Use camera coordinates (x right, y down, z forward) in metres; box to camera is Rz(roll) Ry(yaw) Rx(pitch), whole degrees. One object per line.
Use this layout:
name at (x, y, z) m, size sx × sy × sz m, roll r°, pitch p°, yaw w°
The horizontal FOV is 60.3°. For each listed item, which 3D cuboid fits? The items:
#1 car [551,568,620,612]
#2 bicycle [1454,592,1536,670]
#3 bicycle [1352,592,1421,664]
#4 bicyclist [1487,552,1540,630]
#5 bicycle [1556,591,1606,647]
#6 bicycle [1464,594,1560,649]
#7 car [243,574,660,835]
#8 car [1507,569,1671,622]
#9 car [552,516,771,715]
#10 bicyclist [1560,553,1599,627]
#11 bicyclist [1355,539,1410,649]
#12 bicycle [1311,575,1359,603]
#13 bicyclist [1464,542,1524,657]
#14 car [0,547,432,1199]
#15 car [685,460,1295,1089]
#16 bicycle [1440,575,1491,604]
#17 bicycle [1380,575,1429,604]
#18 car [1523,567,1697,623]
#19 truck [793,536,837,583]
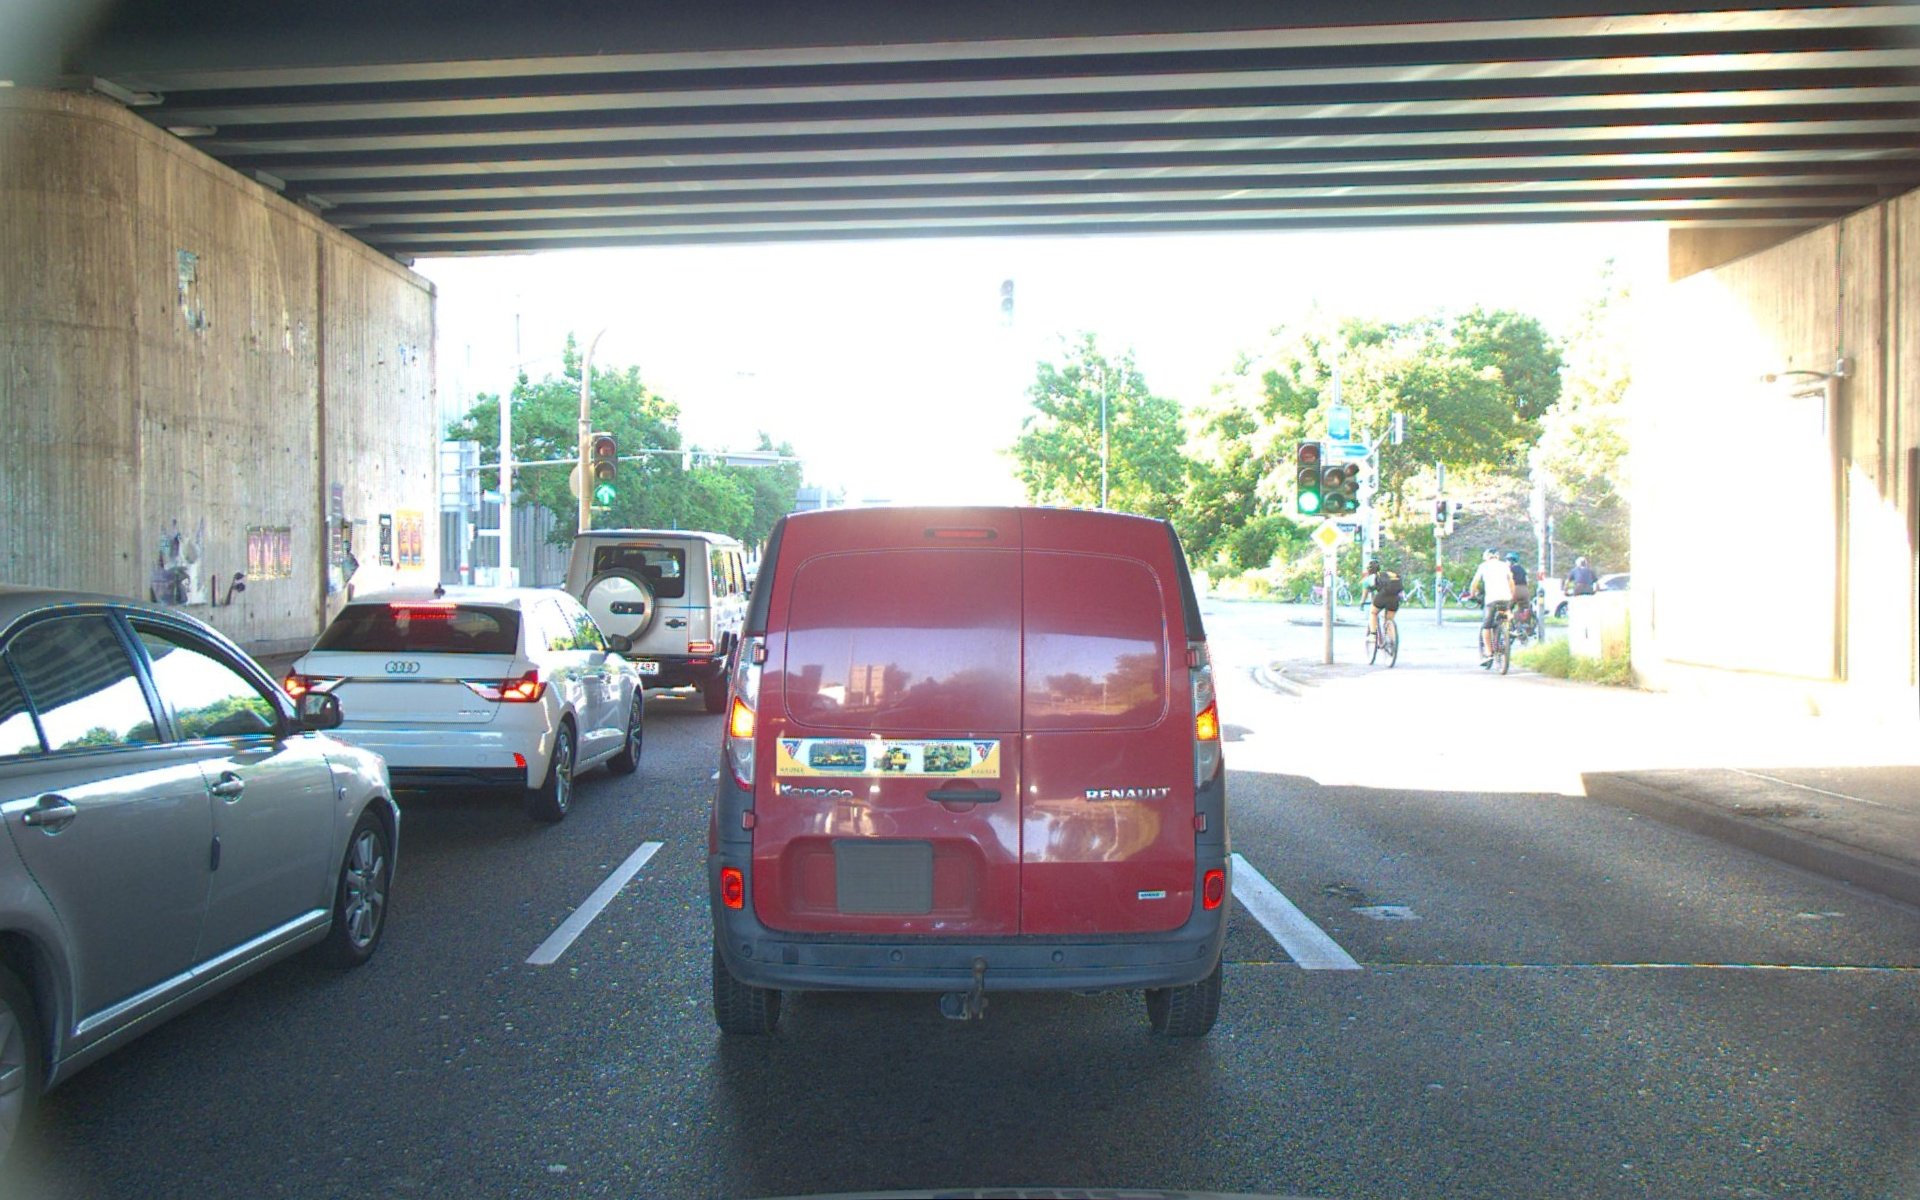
car at (-16.123, -0.443, 71.385) m, size 1.787 × 1.768 × 4.630 m, roll -2°, pitch 1°, yaw 1°
bicycle at (7.507, 0.425, 23.259) m, size 0.579 × 1.041 × 1.750 m, roll 1°, pitch 0°, yaw 0°
bicycle at (6.489, 0.416, 25.229) m, size 0.579 × 1.041 × 1.750 m, roll 1°, pitch 0°, yaw 0°
bicyclist at (10.840, -0.175, 32.408) m, size 0.655 × 1.500 × 0.746 m, roll 1°, pitch -1°, yaw -21°
bicycle at (12.776, 0.376, 34.065) m, size 0.653 × 1.041 × 1.752 m, roll 0°, pitch 3°, yaw 10°
bicycle at (10.812, 0.407, 32.470) m, size 0.662 × 1.041 × 2.042 m, roll 1°, pitch 0°, yaw -21°
car at (-3.248, 0.573, 11.342) m, size 1.777 × 1.463 × 3.730 m, roll 1°, pitch 1°, yaw -2°
car at (19.532, -0.134, 51.505) m, size 4.451 × 1.540 × 1.829 m, roll 1°, pitch 0°, yaw 6°
car at (-3.340, 0.174, 19.358) m, size 1.764 × 2.023 × 4.588 m, roll 1°, pitch 0°, yaw -1°
bicyclist at (12.779, -0.211, 34.101) m, size 0.635 × 1.506 × 0.619 m, roll 1°, pitch 1°, yaw 10°
bicyclist at (6.481, -0.093, 25.385) m, size 0.579 × 1.642 × 0.942 m, roll 1°, pitch 0°, yaw 0°
bicycle at (14.198, -0.418, 62.603) m, size 1.707 × 1.041 × 0.594 m, roll 1°, pitch 0°, yaw 8°
bicyclist at (7.486, -0.003, 23.211) m, size 0.579 × 1.575 × 0.769 m, roll 1°, pitch -1°, yaw 0°
car at (-3.015, 0.630, 4.841) m, size 1.698 × 1.506 × 4.317 m, roll 0°, pitch 0°, yaw -2°
car at (0.065, 0.525, 6.871) m, size 1.768 × 1.826 × 3.999 m, roll 1°, pitch 0°, yaw -1°
bicycle at (18.367, -0.384, 60.129) m, size 1.707 × 1.041 × 0.594 m, roll 1°, pitch 0°, yaw 10°
bicycle at (16.458, -0.385, 61.250) m, size 1.707 × 1.041 × 0.594 m, roll 1°, pitch 0°, yaw 8°
car at (19.124, -0.152, 48.822) m, size 4.451 × 1.540 × 1.829 m, roll 1°, pitch 0°, yaw 6°
truck at (-9.996, -2.790, 114.533) m, size 2.360 × 3.079 × 6.657 m, roll -2°, pitch 1°, yaw 0°
